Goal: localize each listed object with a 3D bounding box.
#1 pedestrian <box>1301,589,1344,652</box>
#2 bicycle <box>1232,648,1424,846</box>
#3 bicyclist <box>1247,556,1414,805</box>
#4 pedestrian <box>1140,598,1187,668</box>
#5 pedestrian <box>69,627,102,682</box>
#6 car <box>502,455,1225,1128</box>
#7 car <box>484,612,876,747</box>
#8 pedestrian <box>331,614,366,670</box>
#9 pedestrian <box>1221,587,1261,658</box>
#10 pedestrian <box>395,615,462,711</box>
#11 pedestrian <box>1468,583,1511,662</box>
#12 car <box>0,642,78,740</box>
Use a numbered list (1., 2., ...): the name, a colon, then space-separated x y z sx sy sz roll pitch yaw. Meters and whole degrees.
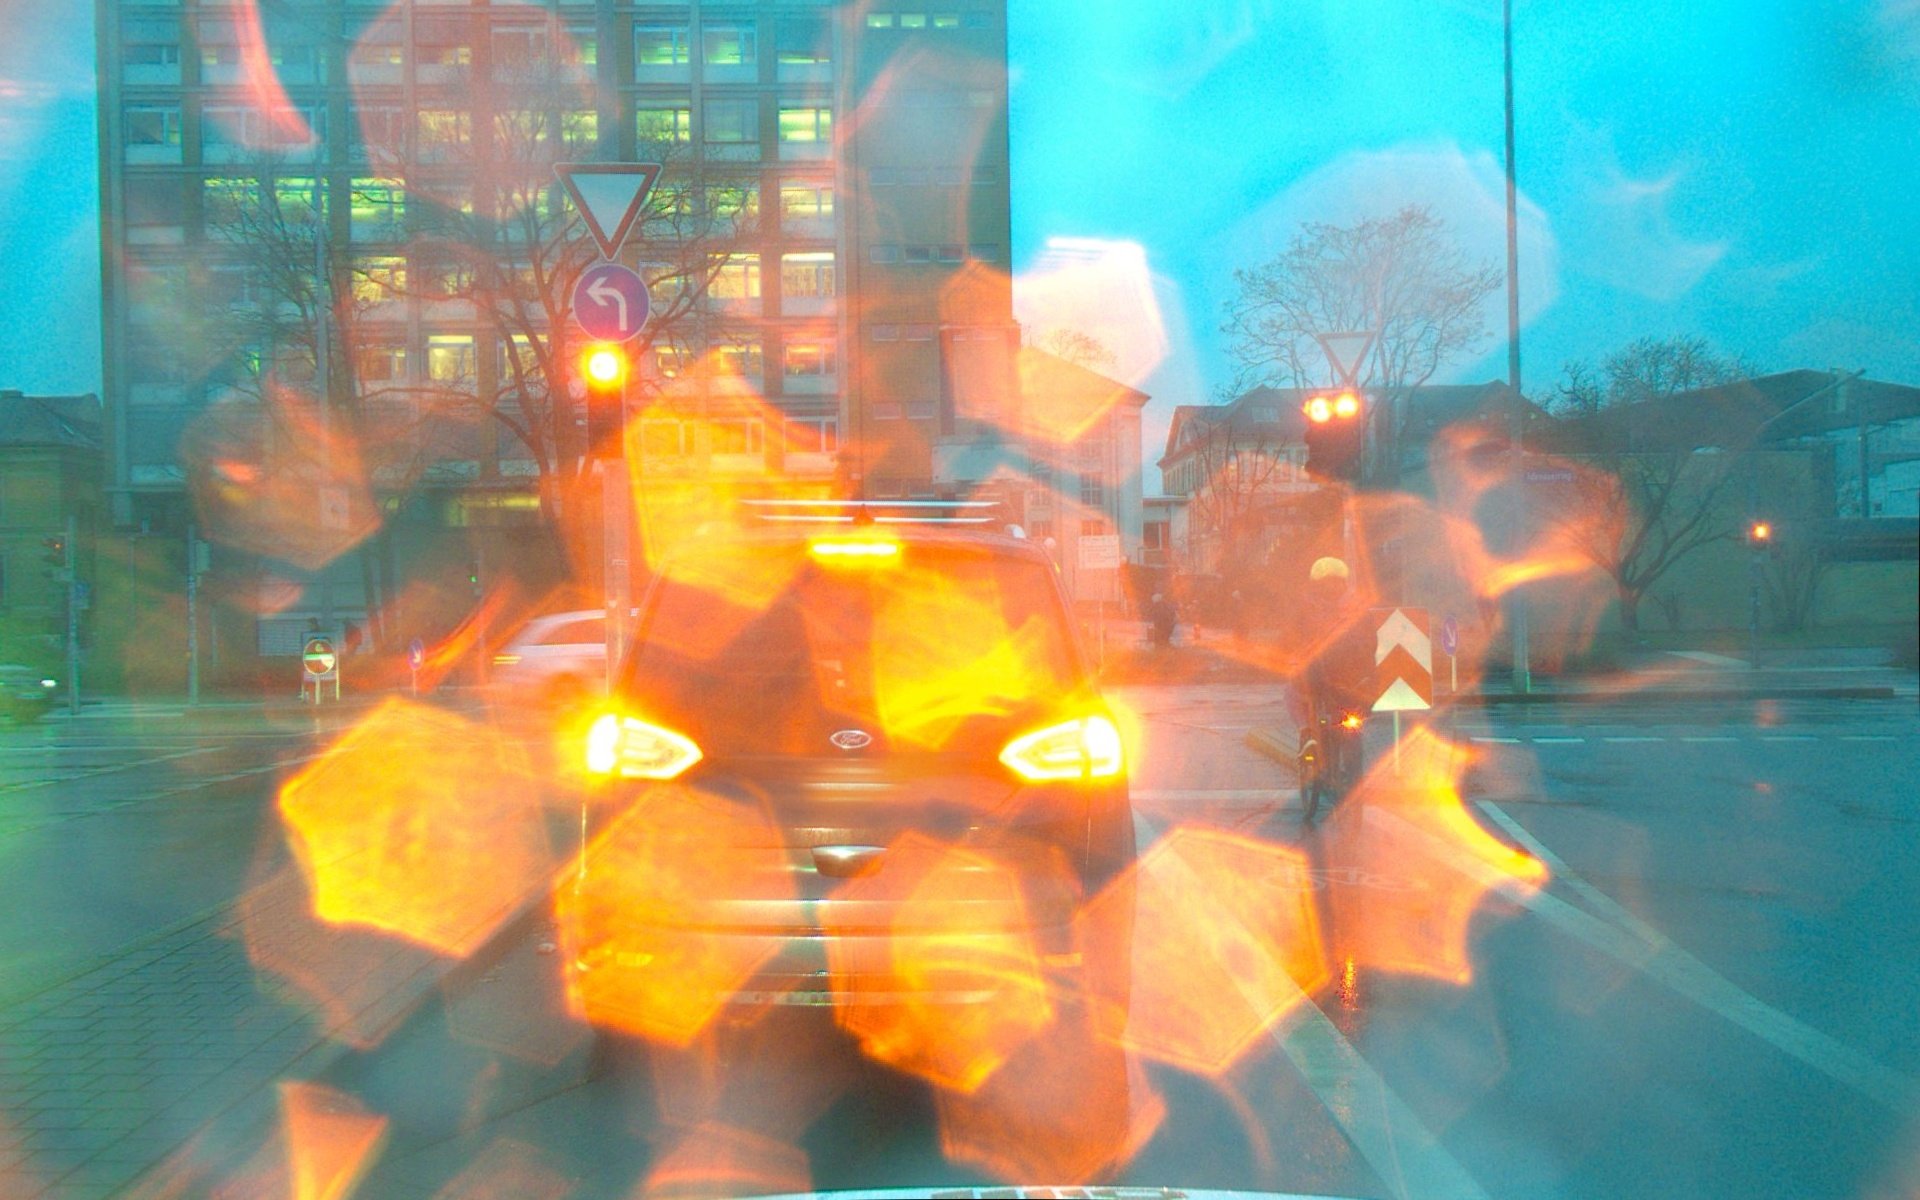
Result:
1. pedestrian: 9.331 0.521 42.628 0.905 1.559 1.043 -2 0 4
2. bicycle: 2.316 0.889 10.662 0.767 1.094 1.956 1 0 -1
3. bicyclist: 2.315 0.485 10.460 0.767 1.478 1.133 1 0 -1
4. pedestrian: 5.279 0.851 42.915 1.111 1.750 0.982 -2 0 10
5. pedestrian: -28.197 1.758 53.323 0.625 1.718 0.637 -2 0 16
6. car: -0.287 0.537 6.541 1.953 1.821 3.999 1 0 -1
7. car: -3.570 1.009 21.443 4.583 1.579 1.940 -2 -1 11
8. pedestrian: -18.438 1.258 49.873 0.743 1.656 0.558 -2 0 14
9. pedestrian: 7.493 0.587 44.208 0.975 1.831 0.920 -2 0 8
10. pedestrian: -11.470 1.348 35.711 0.908 2.013 0.960 -2 0 23
11. pedestrian: 14.624 0.608 45.705 0.864 2.150 0.896 -2 0 4
12. car: -17.081 1.513 27.276 4.481 1.503 1.812 -2 -1 17
